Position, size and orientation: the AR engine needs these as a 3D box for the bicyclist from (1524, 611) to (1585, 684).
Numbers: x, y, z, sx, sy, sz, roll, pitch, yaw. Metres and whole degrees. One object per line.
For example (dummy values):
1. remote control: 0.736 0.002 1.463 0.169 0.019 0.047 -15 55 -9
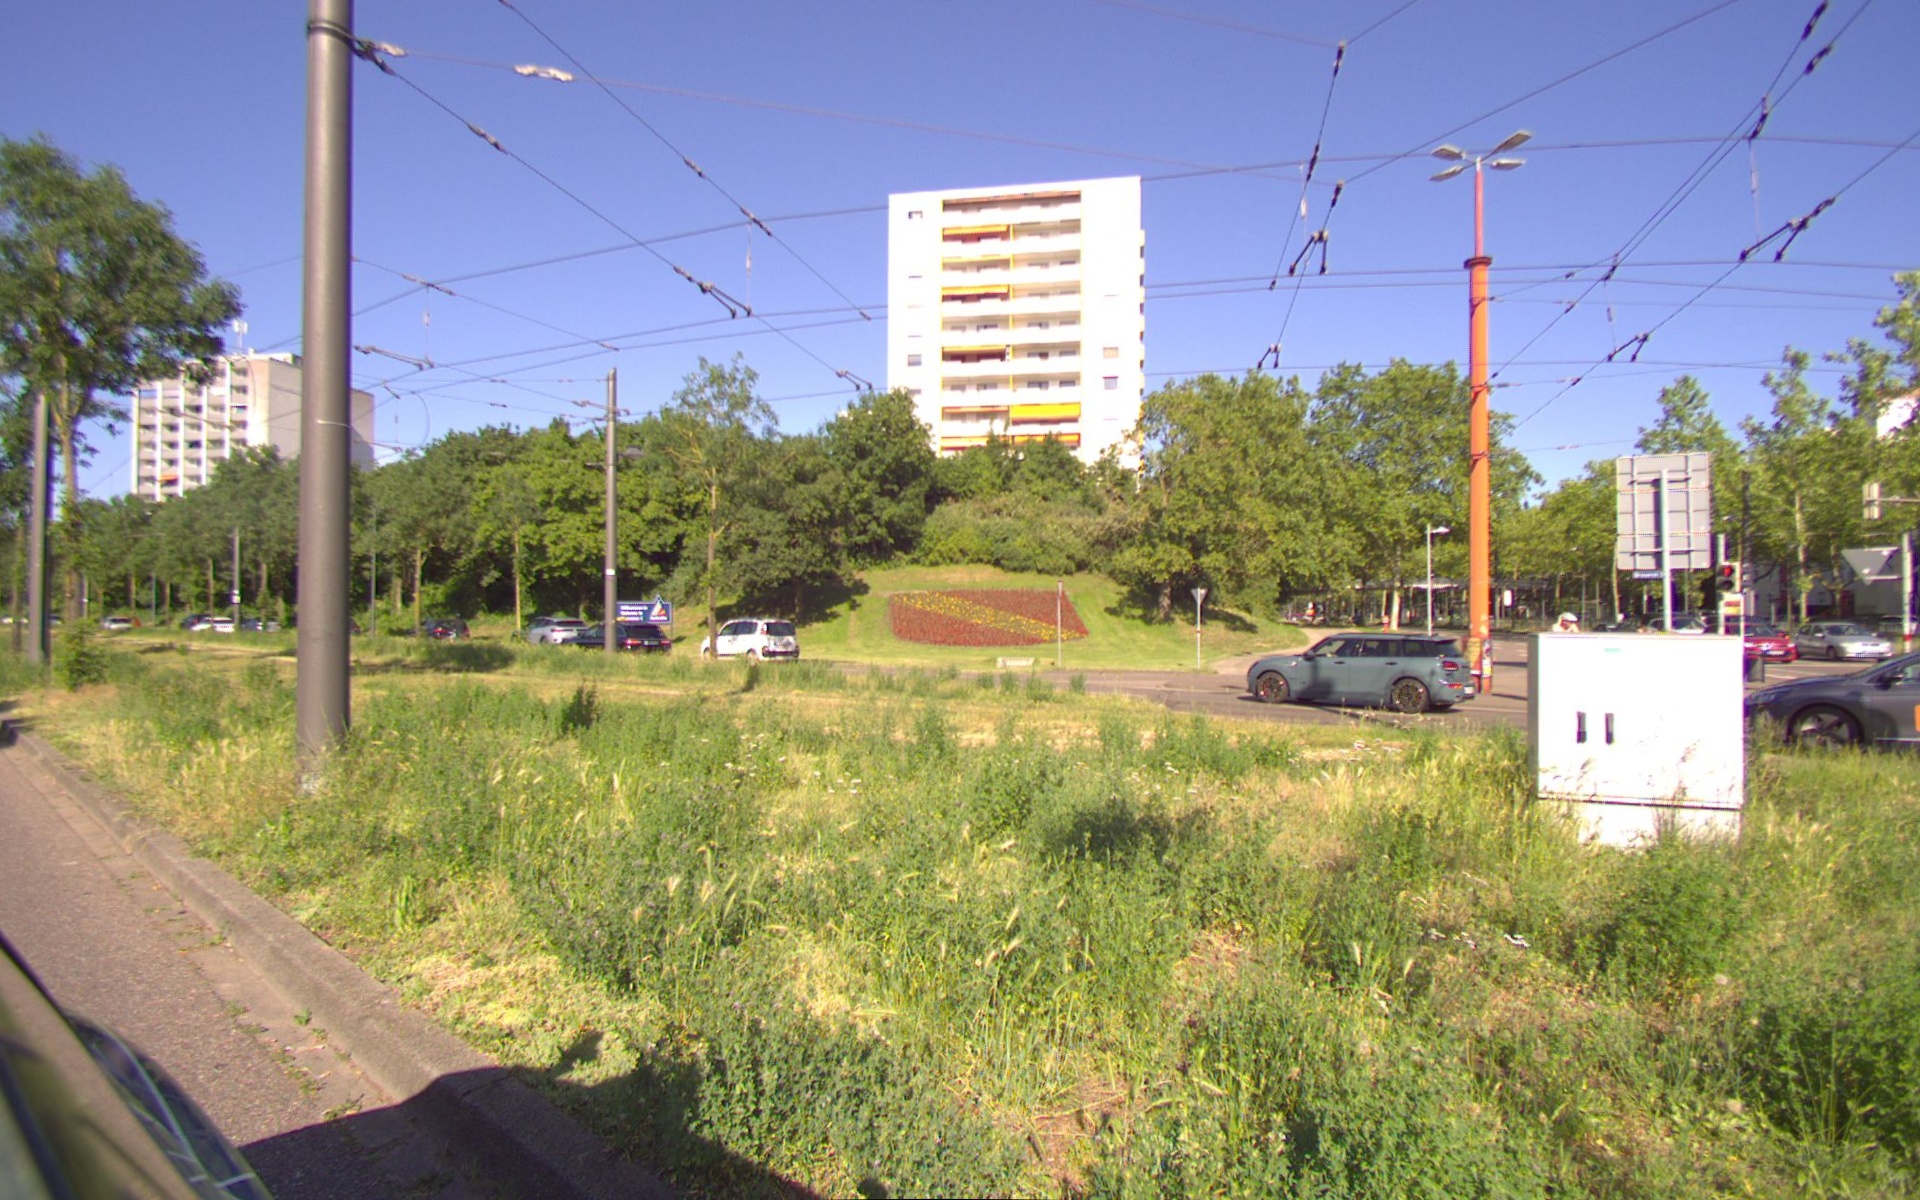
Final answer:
1. bicyclist: 12.021 0.944 20.495 0.741 1.441 0.758 -1 0 -4

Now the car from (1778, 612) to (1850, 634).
1. car: 67.064 1.785 79.512 1.864 1.608 4.010 0 0 -34

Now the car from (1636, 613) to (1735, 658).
1. car: 30.605 1.460 42.839 1.893 1.763 3.985 -1 0 11

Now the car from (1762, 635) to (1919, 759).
1. car: 11.972 1.116 11.605 4.261 1.388 1.531 -1 -2 42

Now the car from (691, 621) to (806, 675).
1. car: -7.196 1.575 34.247 4.060 1.720 1.781 -1 -2 43

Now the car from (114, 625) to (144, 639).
1. car: -78.164 2.977 95.160 4.177 1.307 1.639 -1 -1 43

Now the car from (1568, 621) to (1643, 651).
1. car: 31.535 1.740 49.559 1.718 1.332 3.985 -1 0 11

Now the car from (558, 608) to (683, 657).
1. car: -11.310 1.047 33.553 4.603 1.496 1.856 -1 0 41

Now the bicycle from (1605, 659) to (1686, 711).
1. bicycle: 13.350 1.641 19.748 0.363 0.889 1.627 -1 0 -4

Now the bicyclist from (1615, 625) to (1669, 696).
1. bicyclist: 13.335 1.173 19.797 0.540 1.333 0.701 -1 0 -4

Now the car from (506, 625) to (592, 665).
1. car: -17.709 1.887 43.534 4.439 1.613 1.817 -1 -2 44

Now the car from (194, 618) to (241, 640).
1. car: -50.265 1.938 68.486 4.642 1.433 1.685 -1 -2 42

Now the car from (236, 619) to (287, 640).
1. car: -50.392 2.125 72.954 4.693 1.443 1.972 -1 -2 42

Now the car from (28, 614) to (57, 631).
1. car: -91.358 2.220 100.725 3.757 1.620 1.744 -1 -2 42

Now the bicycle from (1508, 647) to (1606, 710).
1. bicycle: 12.022 1.555 20.481 0.467 1.089 2.362 -1 0 -3

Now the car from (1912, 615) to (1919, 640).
1. car: 64.135 1.767 65.012 1.864 1.608 4.010 0 0 -34

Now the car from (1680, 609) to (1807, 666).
1. car: 28.668 1.325 37.213 1.979 1.915 4.259 -1 0 11

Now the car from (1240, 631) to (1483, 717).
1. car: 7.634 1.342 19.540 4.141 1.398 1.414 -1 0 44

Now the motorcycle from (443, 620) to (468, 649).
1. motorcycle: -21.141 1.435 42.385 0.416 1.140 2.098 0 0 -41

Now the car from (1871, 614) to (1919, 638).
1. car: 64.816 1.772 68.717 1.864 1.608 4.010 0 0 -34

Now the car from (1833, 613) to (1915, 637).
1. car: 65.526 1.778 72.618 1.864 1.608 4.010 0 0 -34

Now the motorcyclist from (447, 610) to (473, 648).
1. motorcyclist: -21.051 1.211 42.601 0.825 1.611 0.641 0 0 -41

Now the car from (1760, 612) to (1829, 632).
1. car: 68.290 1.784 82.836 1.864 1.608 4.010 0 0 -34

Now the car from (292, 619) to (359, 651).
1. car: -33.412 1.815 53.268 4.465 1.606 1.971 -1 -2 44

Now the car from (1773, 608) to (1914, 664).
1. car: 32.104 1.259 36.954 1.979 1.915 4.259 -1 0 11

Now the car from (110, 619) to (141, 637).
1. car: -70.942 2.368 86.010 4.183 1.484 1.571 -1 -2 44

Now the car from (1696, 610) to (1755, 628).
1. car: 71.648 1.790 94.706 1.864 1.608 4.010 0 0 -34

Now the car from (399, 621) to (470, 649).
1. car: -26.512 1.734 51.022 4.030 1.352 1.841 -1 -2 42

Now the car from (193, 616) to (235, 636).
1. car: -61.196 2.106 82.968 4.631 1.492 1.972 -1 0 43
